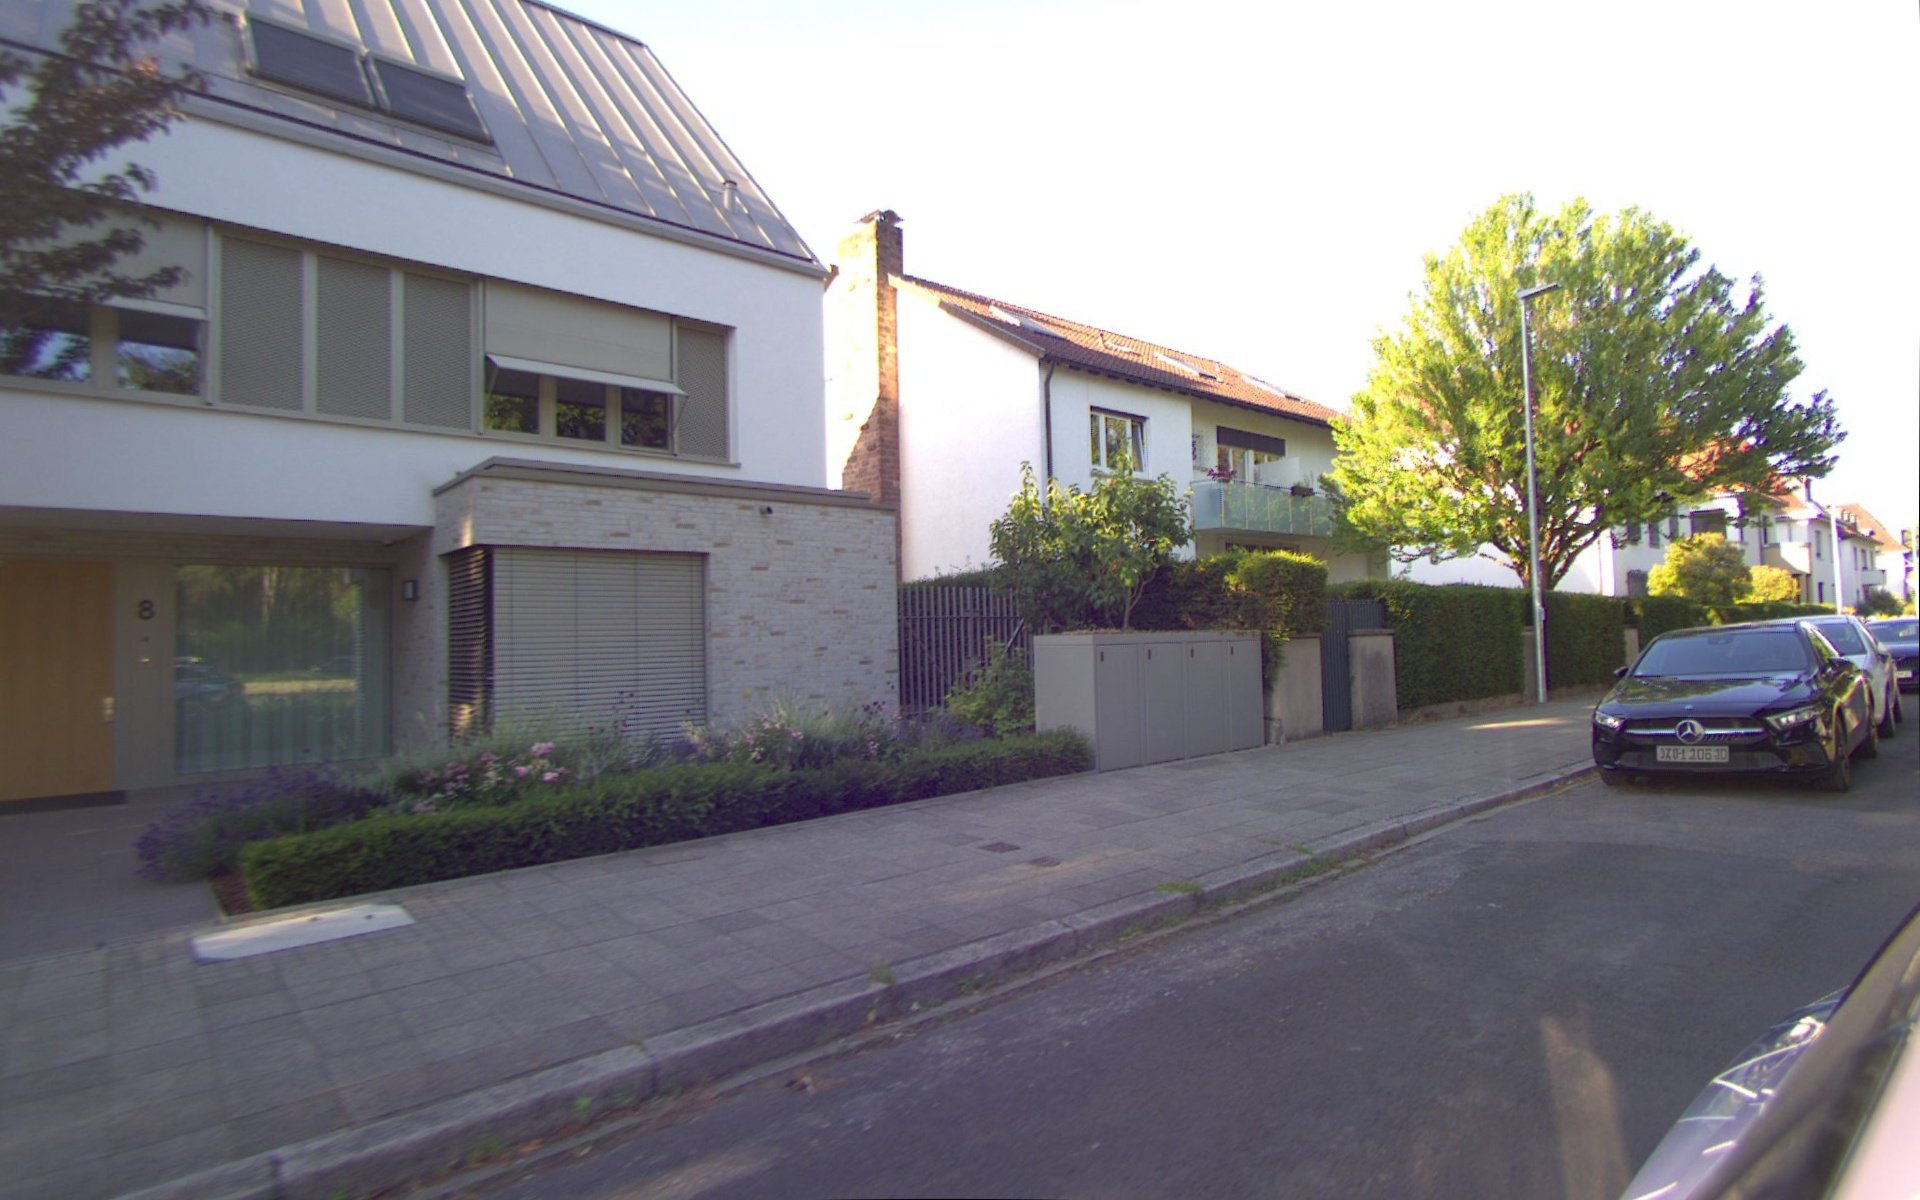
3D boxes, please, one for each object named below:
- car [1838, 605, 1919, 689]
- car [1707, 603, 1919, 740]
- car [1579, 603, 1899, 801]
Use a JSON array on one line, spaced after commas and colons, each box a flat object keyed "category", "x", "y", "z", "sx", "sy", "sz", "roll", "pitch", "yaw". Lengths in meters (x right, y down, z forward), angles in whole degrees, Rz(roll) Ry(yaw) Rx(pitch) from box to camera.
[{"category": "car", "x": 18.770, "y": 0.851, "z": 19.786, "sx": 4.593, "sy": 1.511, "sz": 1.795, "roll": 0, "pitch": -3, "yaw": -42}, {"category": "car", "x": 11.223, "y": 0.901, "z": 13.208, "sx": 3.865, "sy": 1.503, "sz": 1.690, "roll": 1, "pitch": -7, "yaw": -45}, {"category": "car", "x": 7.648, "y": 0.857, "z": 9.775, "sx": 4.216, "sy": 1.496, "sz": 1.749, "roll": 1, "pitch": -5, "yaw": -44}]
